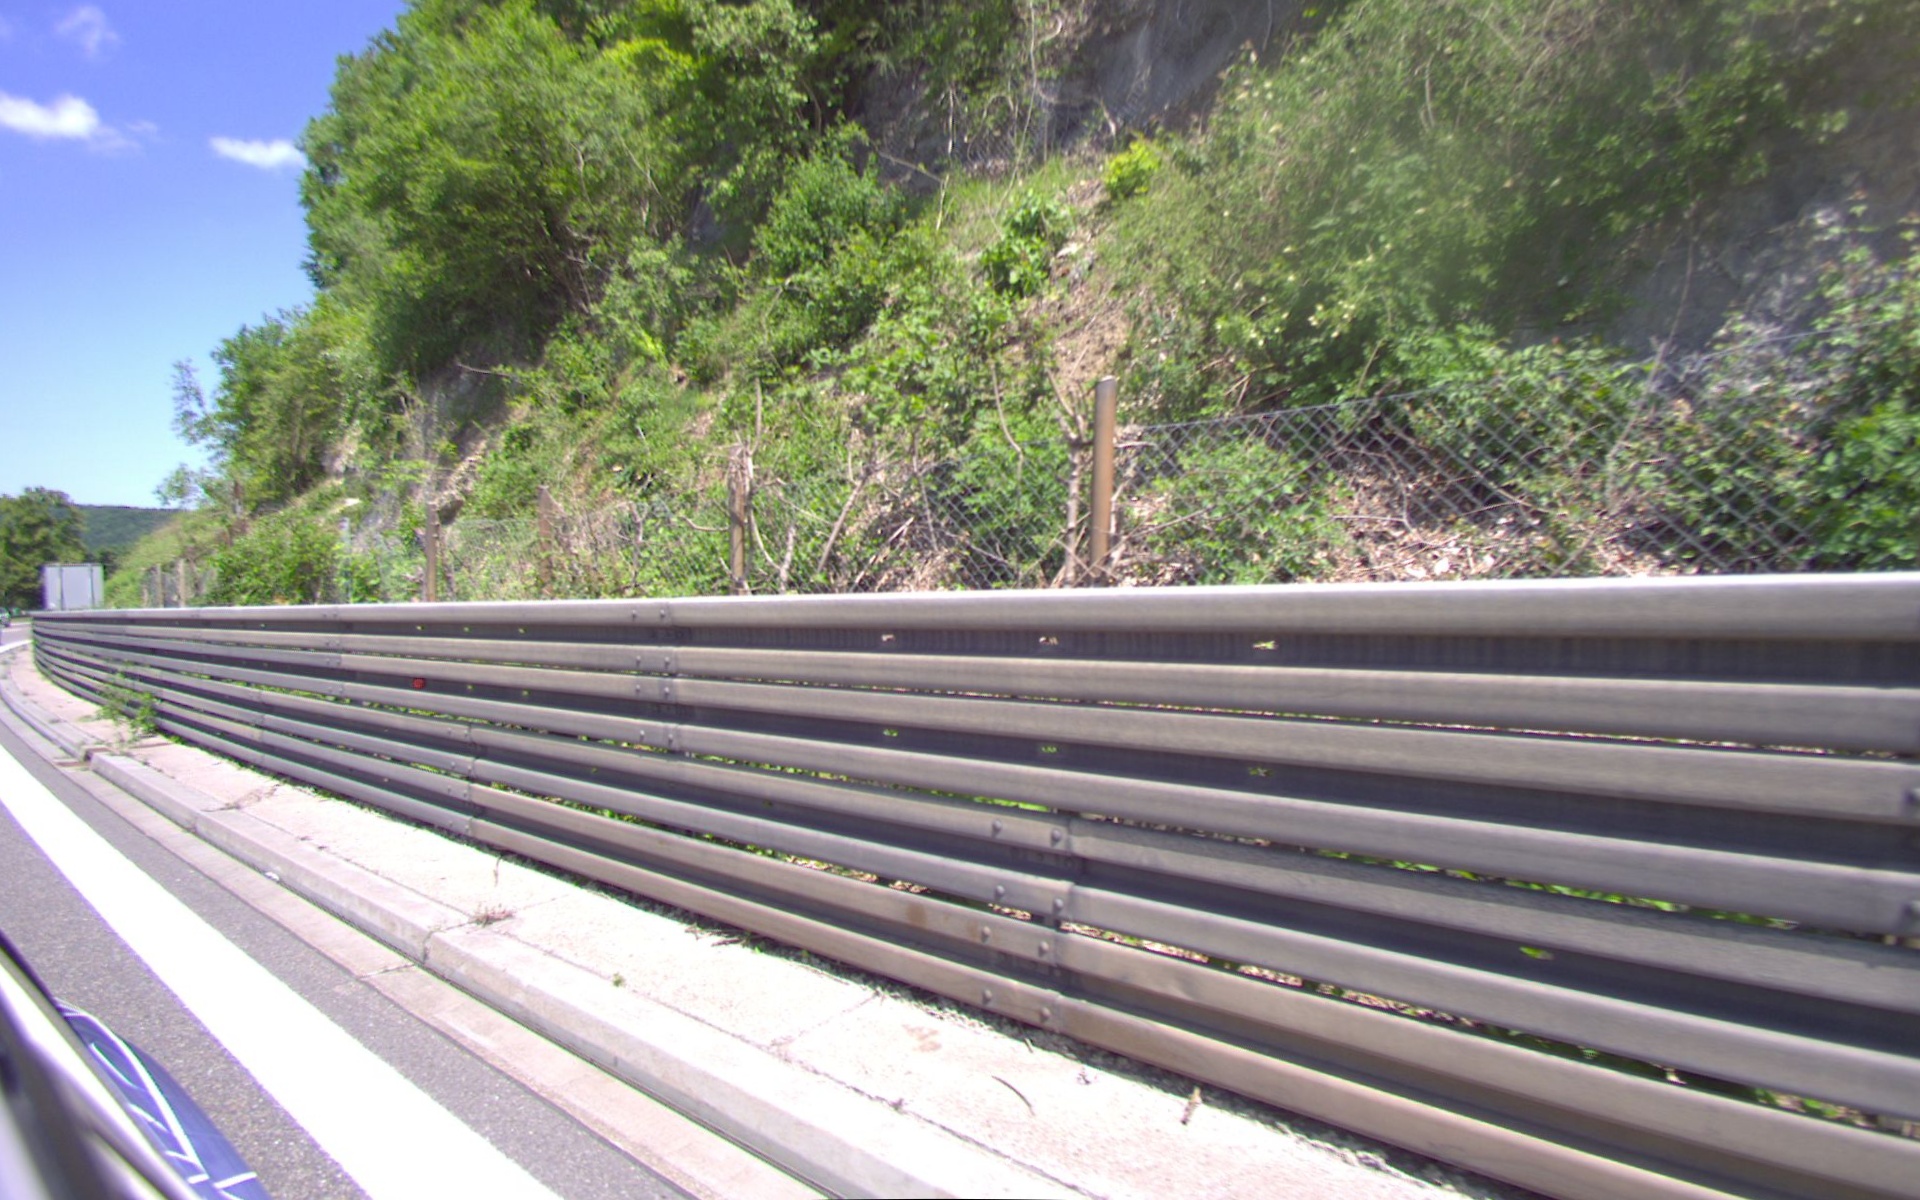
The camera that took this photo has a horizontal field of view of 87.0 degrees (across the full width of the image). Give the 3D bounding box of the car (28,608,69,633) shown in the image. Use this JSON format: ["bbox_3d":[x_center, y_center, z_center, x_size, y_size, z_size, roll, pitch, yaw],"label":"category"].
[{"bbox_3d":[-75.240,1.683,83.620,1.967,2.029,4.010,-1,0,-34],"label":"car"}]
